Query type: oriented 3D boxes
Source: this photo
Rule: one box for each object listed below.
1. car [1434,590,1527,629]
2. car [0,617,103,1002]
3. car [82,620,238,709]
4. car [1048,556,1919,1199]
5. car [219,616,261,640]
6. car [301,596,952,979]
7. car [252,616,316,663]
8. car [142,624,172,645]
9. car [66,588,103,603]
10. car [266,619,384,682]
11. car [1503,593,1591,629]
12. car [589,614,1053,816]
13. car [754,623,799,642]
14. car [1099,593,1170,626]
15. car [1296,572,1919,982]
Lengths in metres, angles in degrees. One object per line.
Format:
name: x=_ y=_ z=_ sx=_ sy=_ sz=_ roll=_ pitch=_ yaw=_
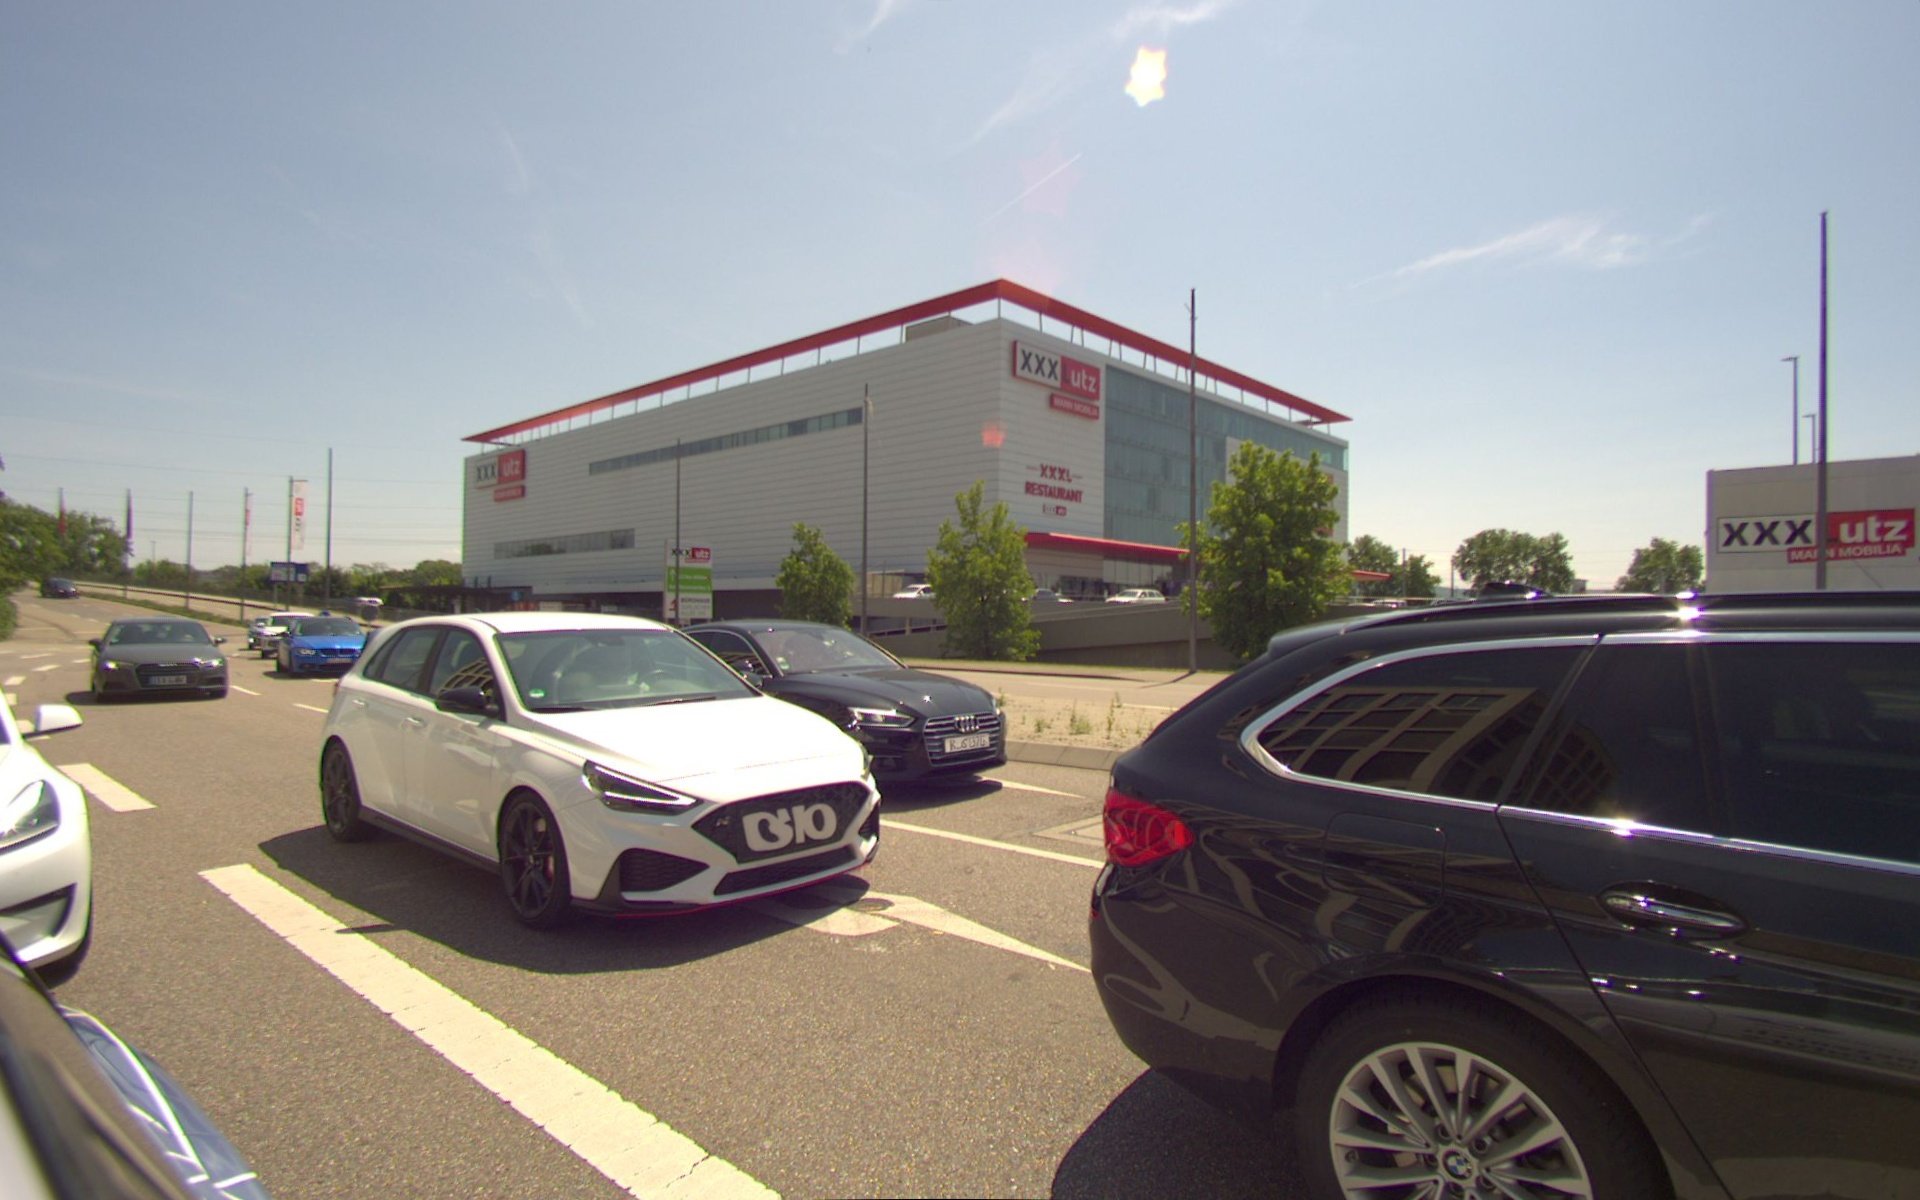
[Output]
car: x=27.234 y=0.514 z=53.002 sx=3.998 sy=1.946 sz=1.973 roll=-1 pitch=-2 yaw=41
car: x=-5.693 y=0.822 z=4.694 sx=4.401 sy=1.436 sz=1.857 roll=-1 pitch=-1 yaw=39
car: x=-14.289 y=1.058 z=17.989 sx=1.776 sy=1.388 sz=4.410 roll=2 pitch=-2 yaw=-43
car: x=2.551 y=0.664 z=1.730 sx=4.620 sy=1.477 sz=1.781 roll=-1 pitch=-1 yaw=40
car: x=-50.694 y=1.958 z=71.228 sx=1.811 sy=1.674 sz=4.003 roll=2 pitch=-2 yaw=-44
car: x=-2.189 y=0.770 z=5.928 sx=4.228 sy=1.461 sz=1.712 roll=-1 pitch=-2 yaw=41
car: x=-24.018 y=1.352 z=35.905 sx=1.653 sy=1.587 sz=4.066 roll=1 pitch=-1 yaw=-37
car: x=-52.069 y=2.233 z=65.615 sx=1.452 sy=1.198 sz=3.359 roll=4 pitch=-3 yaw=-38
car: x=-91.197 y=-0.481 z=105.429 sx=4.361 sy=1.364 sz=1.976 roll=3 pitch=2 yaw=36
car: x=-15.727 y=1.191 z=24.972 sx=1.775 sy=1.424 sz=4.412 roll=2 pitch=-2 yaw=-41
car: x=32.421 y=0.635 z=55.923 sx=3.996 sy=1.923 sz=1.974 roll=-1 pitch=-2 yaw=39
car: x=-1.478 y=0.859 z=9.221 sx=4.533 sy=1.401 sz=1.729 roll=-2 pitch=-2 yaw=43
car: x=-16.924 y=3.017 z=93.336 sx=1.911 sy=1.632 sz=3.698 roll=0 pitch=-2 yaw=41
car: x=9.935 y=0.578 z=57.562 sx=2.001 sy=1.781 sz=4.140 roll=0 pitch=-2 yaw=44
car: x=3.809 y=0.661 z=4.616 sx=3.991 sy=1.505 sz=1.782 roll=-1 pitch=-1 yaw=36
